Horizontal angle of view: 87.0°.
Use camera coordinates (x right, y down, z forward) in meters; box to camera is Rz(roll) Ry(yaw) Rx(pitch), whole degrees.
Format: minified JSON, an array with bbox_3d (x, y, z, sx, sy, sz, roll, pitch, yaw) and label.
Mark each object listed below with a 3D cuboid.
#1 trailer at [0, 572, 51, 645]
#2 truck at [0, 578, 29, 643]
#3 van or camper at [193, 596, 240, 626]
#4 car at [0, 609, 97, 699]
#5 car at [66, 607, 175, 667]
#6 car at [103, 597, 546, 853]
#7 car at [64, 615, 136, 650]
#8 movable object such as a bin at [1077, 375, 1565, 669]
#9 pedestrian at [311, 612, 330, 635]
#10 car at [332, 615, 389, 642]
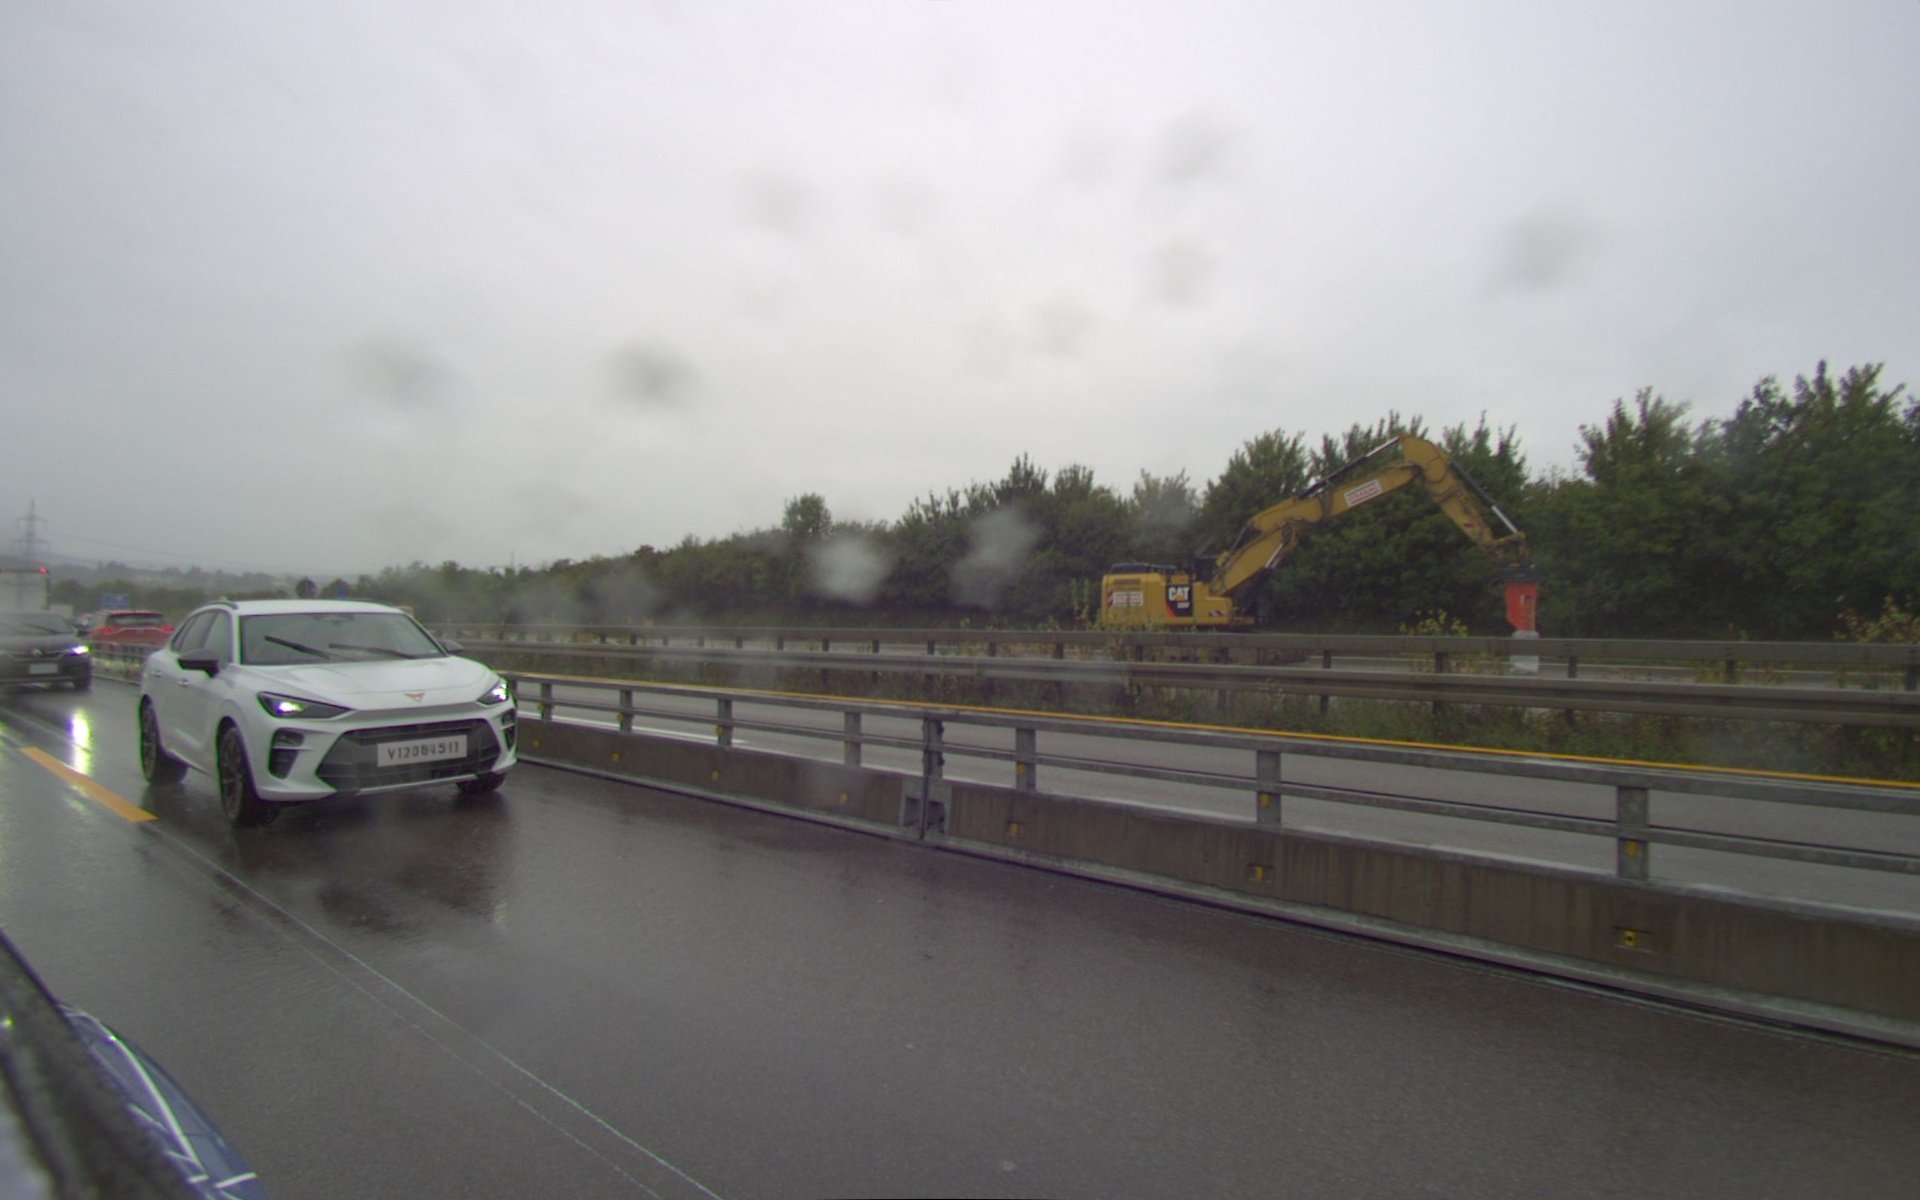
[{"bbox_3d":[-58.902,0.635,62.302,12.213,4.121,2.877,-2,-2,41],"label":"trailer"},{"bbox_3d":[-63.342,0.752,66.160,6.922,4.133,2.854,-2,-2,41],"label":"truck"},{"bbox_3d":[-108.798,1.584,148.069,8.493,4.356,3.335,-1,1,38],"label":"van or camper"},{"bbox_3d":[-19.107,1.008,20.374,5.195,1.640,2.042,-1,-1,43],"label":"car"},{"bbox_3d":[-24.583,1.022,29.595,4.181,1.605,1.783,0,1,41],"label":"car"},{"bbox_3d":[-5.591,0.791,8.573,5.006,1.562,1.907,-1,-1,42],"label":"car"},{"bbox_3d":[-40.383,1.505,47.484,4.294,1.517,1.973,0,0,41],"label":"car"},{"bbox_3d":[8.677,-1.591,25.902,11.048,5.959,4.125,0,1,44],"label":"movable object such as a bin"},{"bbox_3d":[-57.708,2.152,91.343,1.124,2.029,1.095,-1,0,36],"label":"pedestrian"},{"bbox_3d":[-46.488,2.167,78.390,5.359,1.981,2.073,-1,-1,39],"label":"car"}]
